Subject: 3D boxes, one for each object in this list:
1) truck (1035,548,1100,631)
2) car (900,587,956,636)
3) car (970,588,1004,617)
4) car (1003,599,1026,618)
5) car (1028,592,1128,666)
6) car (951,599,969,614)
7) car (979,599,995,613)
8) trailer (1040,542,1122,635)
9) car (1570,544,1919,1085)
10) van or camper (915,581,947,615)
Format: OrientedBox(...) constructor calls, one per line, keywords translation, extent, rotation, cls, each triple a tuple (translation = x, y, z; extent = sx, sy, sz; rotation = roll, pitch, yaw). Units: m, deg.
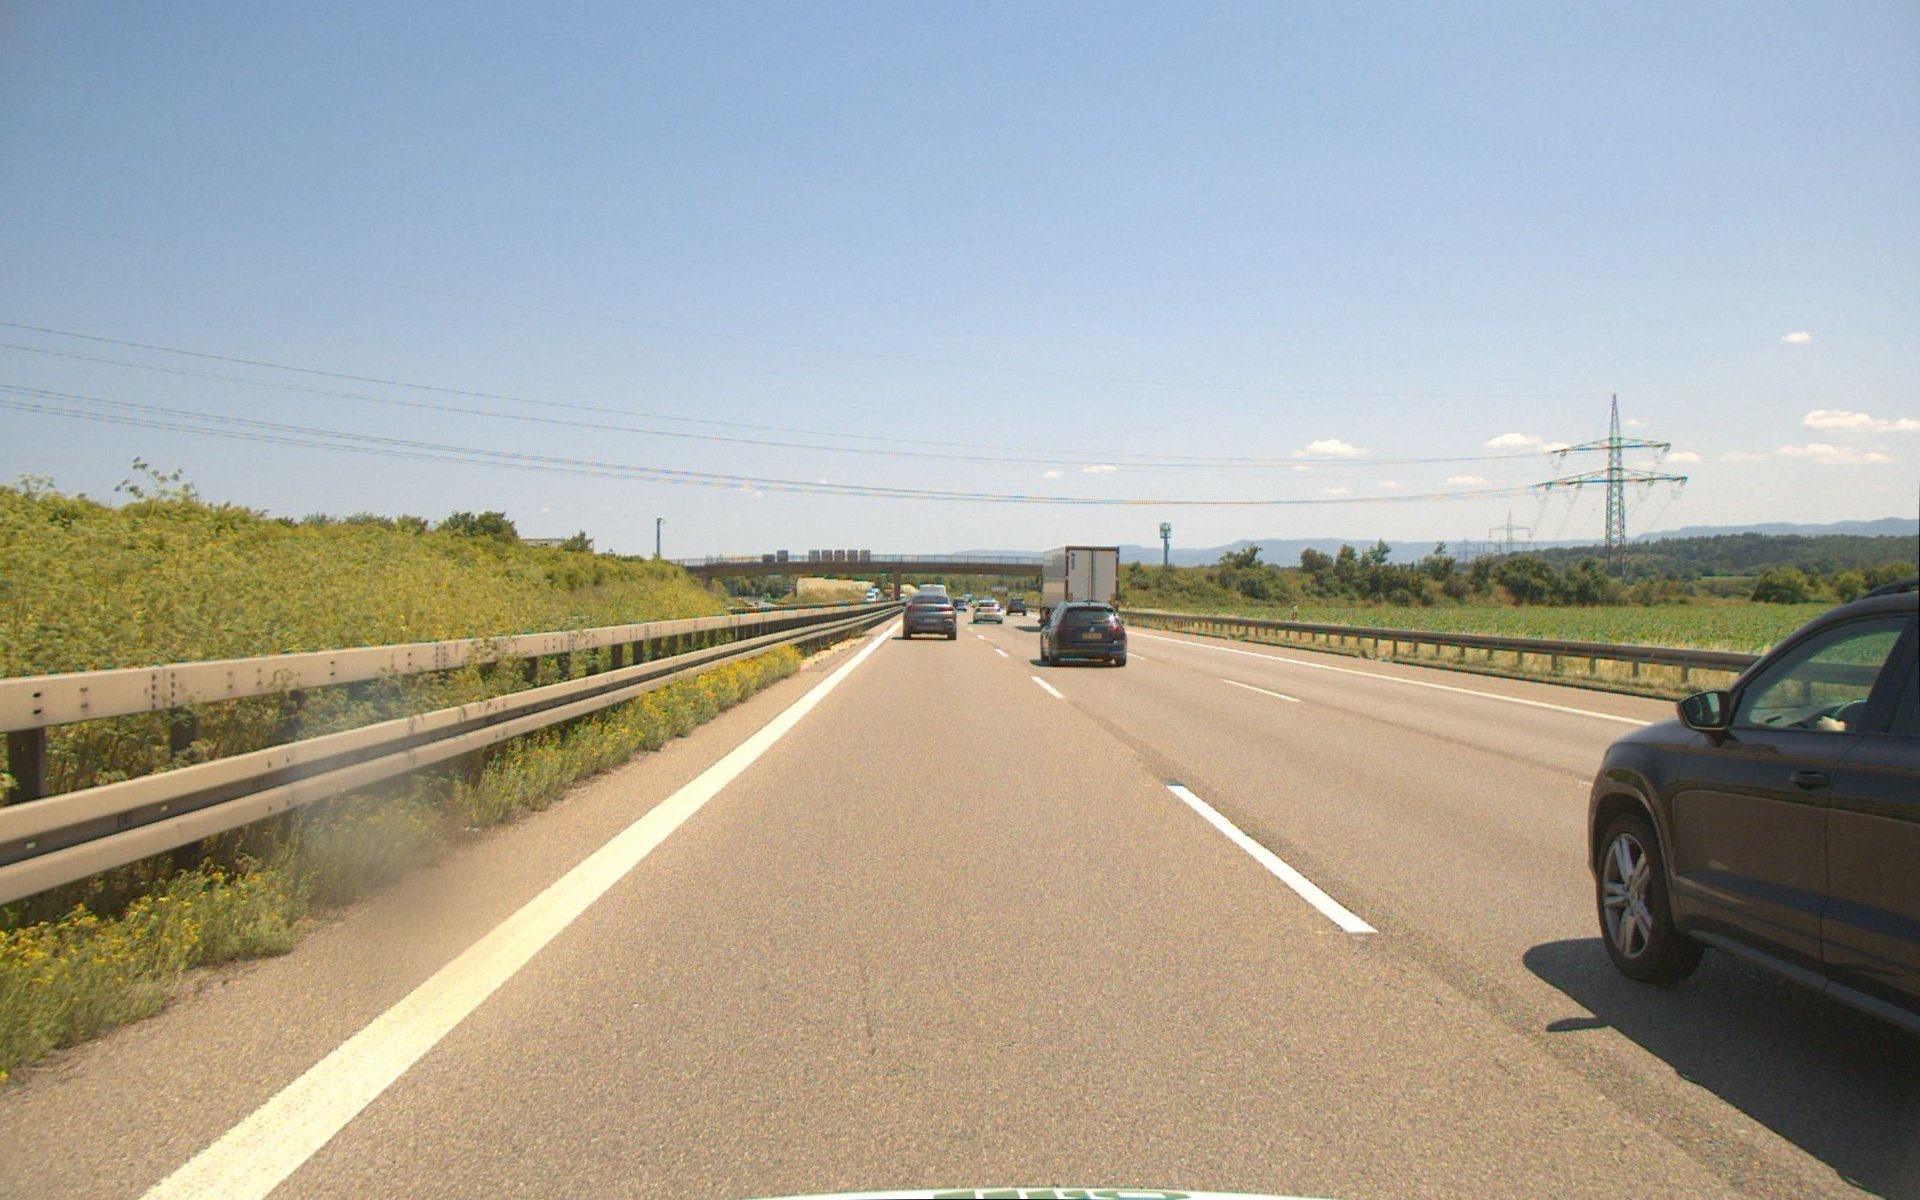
OrientedBox(translation=(5.849, -0.569, 91.158), extent=(2.919, 4.301, 7.685), rotation=(1, 0, -1), cls="truck")
OrientedBox(translation=(-1.197, 0.407, 60.401), extent=(1.815, 1.693, 3.732), rotation=(1, 0, -4), cls="car")
OrientedBox(translation=(1.635, 0.158, 101.636), extent=(1.953, 1.712, 3.999), rotation=(1, 0, -1), cls="car")
OrientedBox(translation=(5.076, 0.768, 155.018), extent=(1.953, 1.712, 3.999), rotation=(1, 0, -1), cls="car")
OrientedBox(translation=(2.723, 0.648, 39.300), extent=(1.894, 1.602, 4.933), rotation=(1, 0, -1), cls="car")
OrientedBox(translation=(-0.048, 0.755, 189.423), extent=(1.953, 1.712, 3.999), rotation=(1, 0, -1), cls="car")
OrientedBox(translation=(3.472, 0.812, 211.379), extent=(1.953, 1.712, 3.999), rotation=(1, 0, -1), cls="car")
OrientedBox(translation=(5.955, -0.523, 83.837), extent=(2.883, 4.271, 13.594), rotation=(1, 0, -1), cls="trailer")
OrientedBox(translation=(3.700, 0.646, 5.649), extent=(1.760, 1.589, 3.823), rotation=(1, 0, -1), cls="car")
OrientedBox(translation=(-1.923, -0.129, 111.928), extent=(2.068, 2.250, 5.264), rotation=(1, 0, -1), cls="van or camper")
